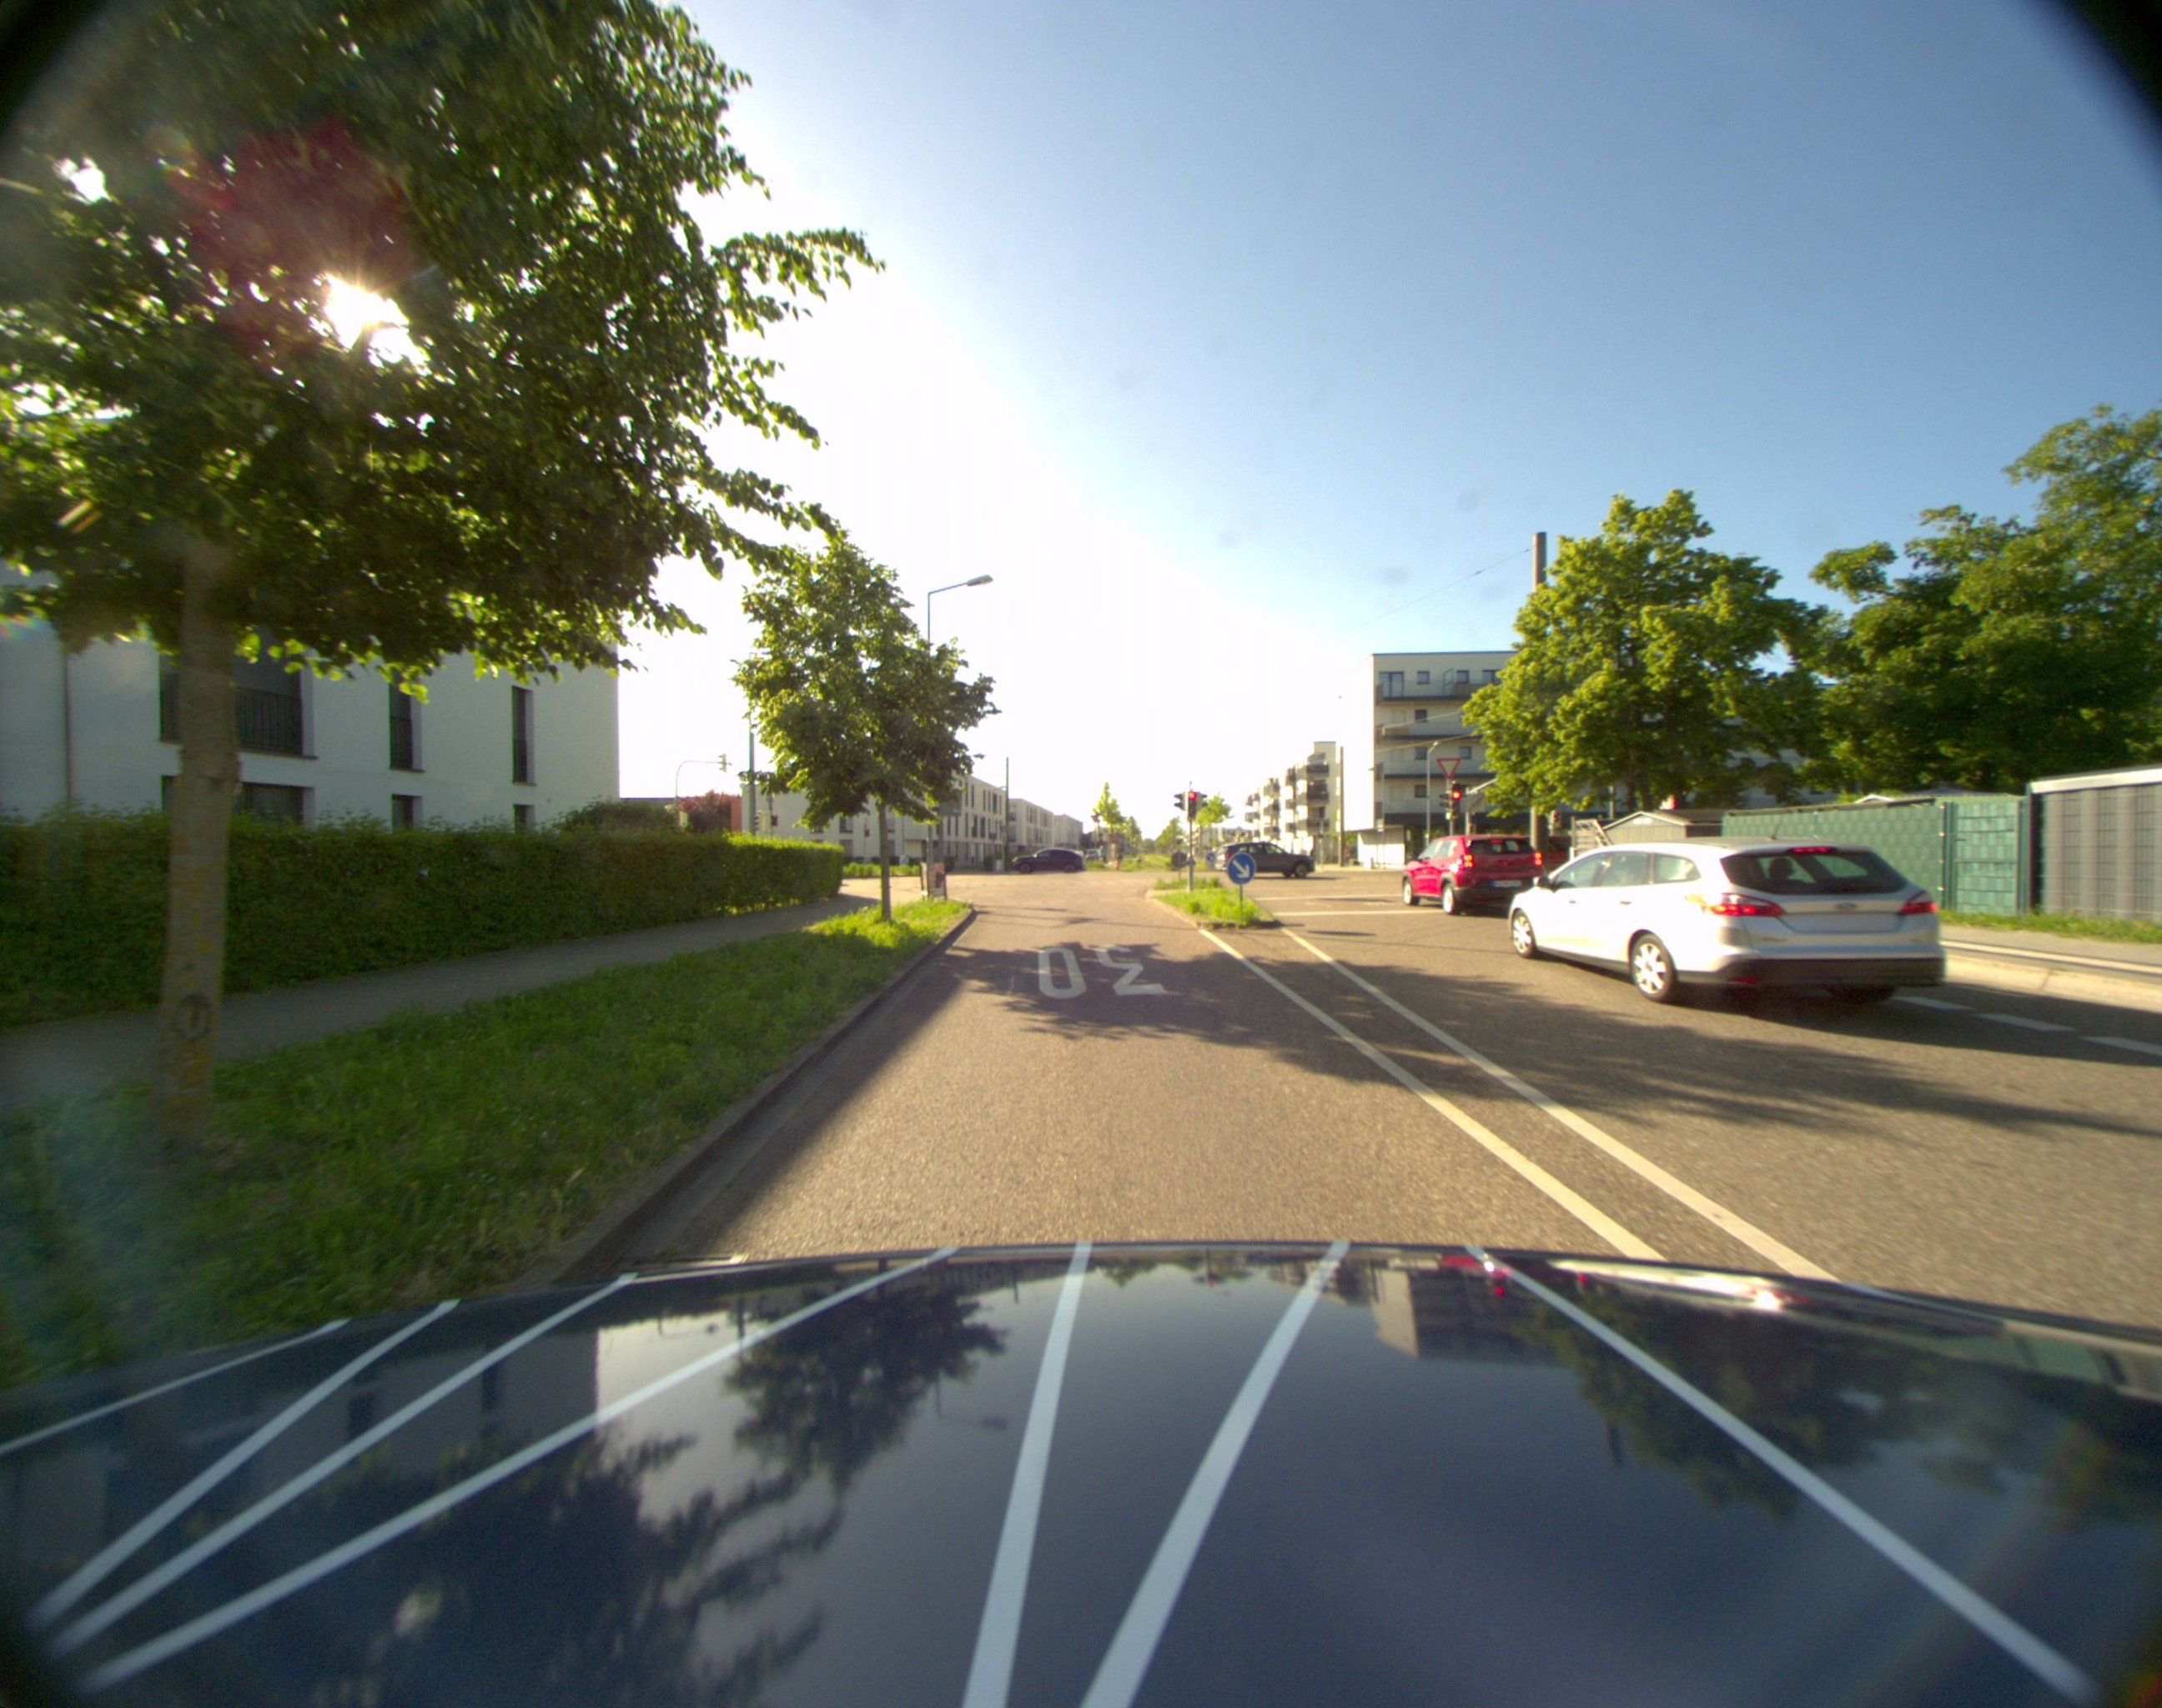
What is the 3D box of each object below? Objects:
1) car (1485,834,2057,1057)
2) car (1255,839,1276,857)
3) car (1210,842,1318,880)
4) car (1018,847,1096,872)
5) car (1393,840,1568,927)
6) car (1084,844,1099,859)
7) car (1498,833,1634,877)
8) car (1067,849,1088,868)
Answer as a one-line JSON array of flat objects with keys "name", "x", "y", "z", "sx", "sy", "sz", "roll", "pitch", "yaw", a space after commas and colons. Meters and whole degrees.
[{"name": "car", "x": 6.152, "y": 0.627, "z": 7.775, "sx": 2.213, "sy": 1.582, "sz": 4.537, "roll": -1, "pitch": 1, "yaw": 9}, {"name": "car", "x": 22.109, "y": -0.745, "z": 91.127, "sx": 1.997, "sy": 2.003, "sz": 4.000, "roll": 0, "pitch": 3, "yaw": 7}, {"name": "car", "x": 8.350, "y": 0.284, "z": 34.890, "sx": 4.406, "sy": 1.663, "sz": 1.999, "roll": 0, "pitch": 2, "yaw": -3}, {"name": "car", "x": -1.431, "y": 0.348, "z": 47.380, "sx": 4.736, "sy": 1.525, "sz": 1.973, "roll": 0, "pitch": 0, "yaw": 1}, {"name": "car", "x": 8.210, "y": 0.527, "z": 16.095, "sx": 1.943, "sy": 1.579, "sz": 4.183, "roll": -1, "pitch": 1, "yaw": 7}, {"name": "car", "x": 1.483, "y": -0.374, "z": 111.368, "sx": 1.999, "sy": 2.002, "sz": 3.997, "roll": 0, "pitch": 2, "yaw": -3}, {"name": "car", "x": 22.928, "y": 0.022, "z": 36.073, "sx": 5.079, "sy": 1.959, "sz": 2.128, "roll": -1, "pitch": 3, "yaw": 1}, {"name": "car", "x": -0.392, "y": 0.441, "z": 80.824, "sx": 1.998, "sy": 2.002, "sz": 4.000, "roll": 0, "pitch": 1, "yaw": 3}]
